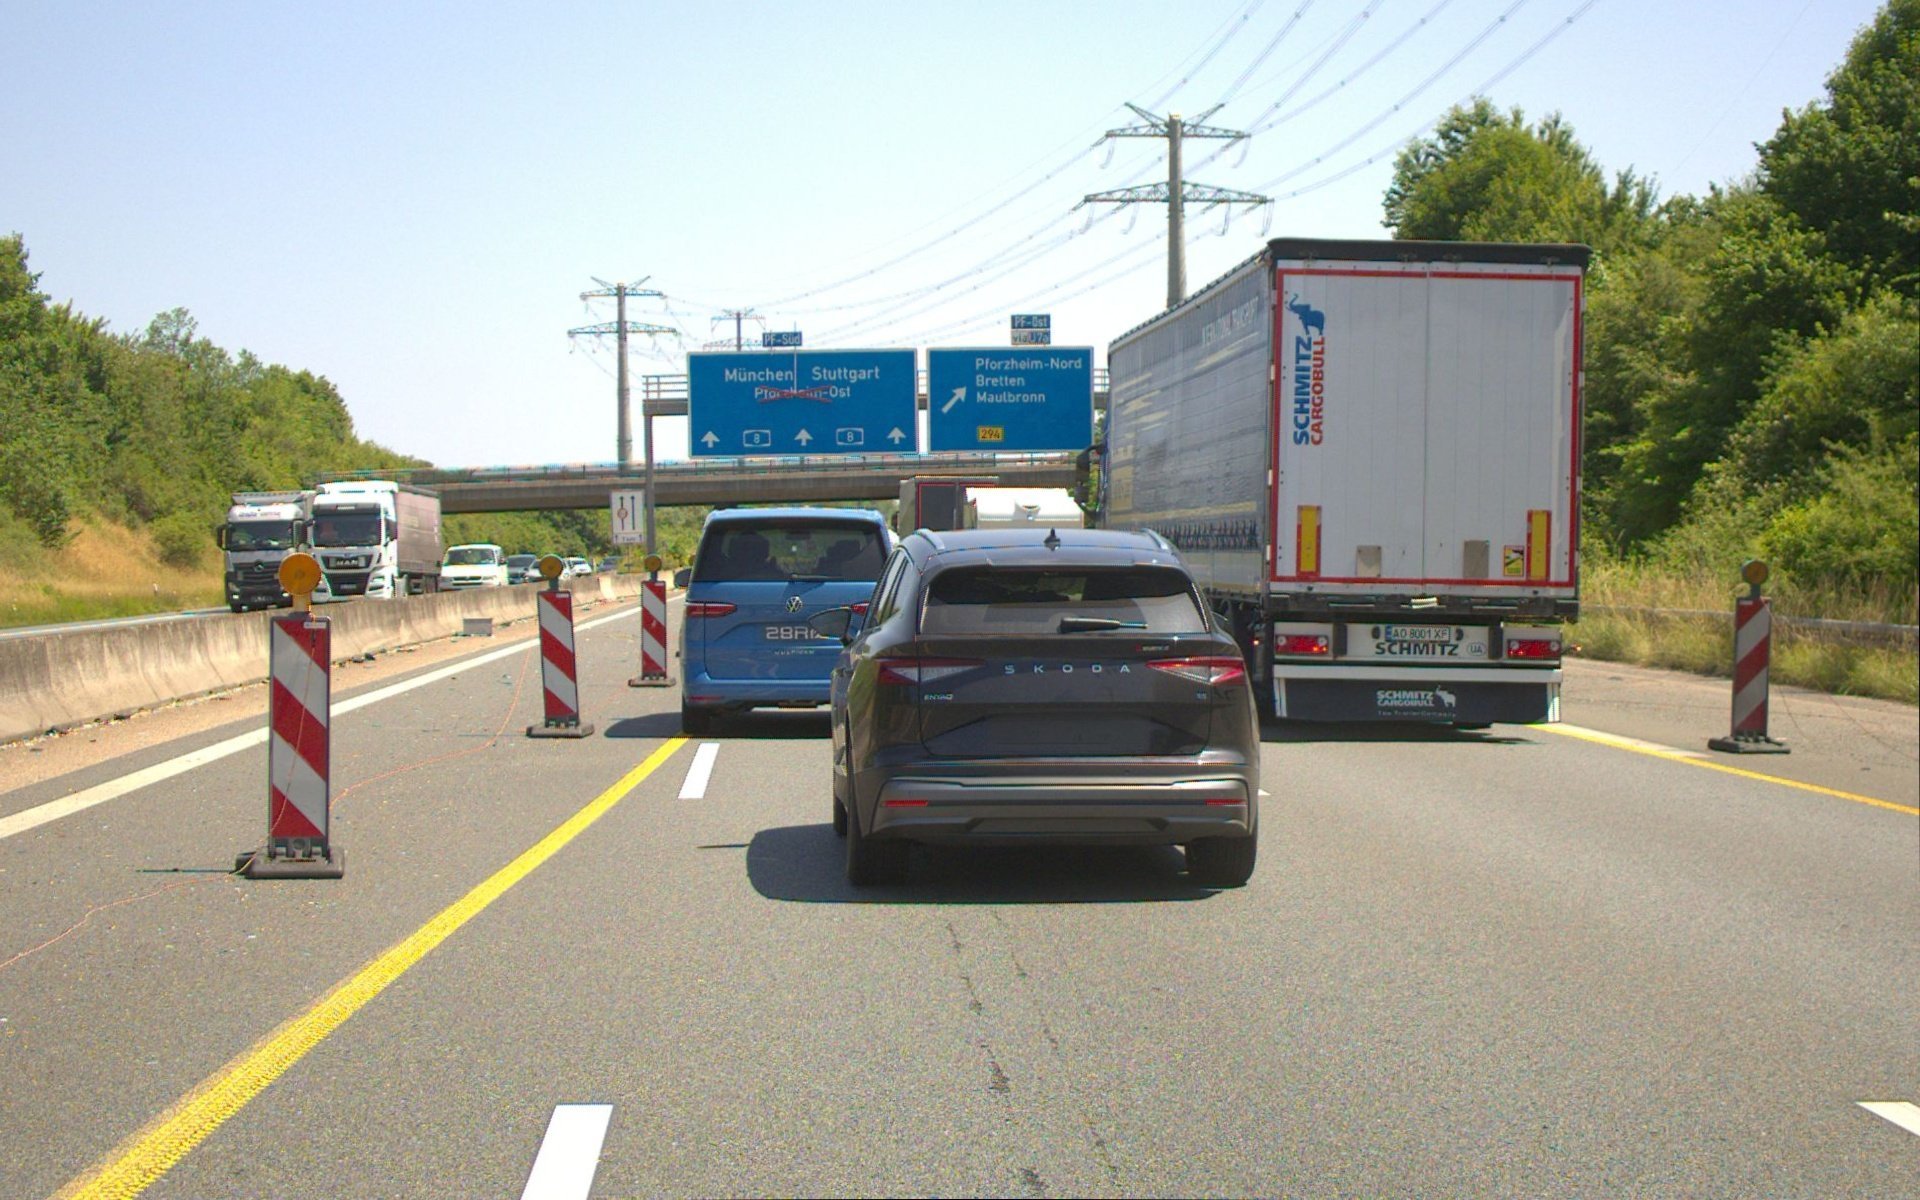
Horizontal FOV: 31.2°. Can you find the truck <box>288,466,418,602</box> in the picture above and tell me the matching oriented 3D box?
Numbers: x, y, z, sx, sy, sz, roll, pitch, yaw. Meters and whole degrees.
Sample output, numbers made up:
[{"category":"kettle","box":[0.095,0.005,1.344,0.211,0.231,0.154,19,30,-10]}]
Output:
[{"category":"truck","box":[-19.734,-2.146,112.222,3.163,4.210,7.416,-1,1,-3]}]

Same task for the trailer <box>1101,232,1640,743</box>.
[{"category":"trailer","box":[3.493,-0.982,32.966,3.065,4.028,11.489,0,1,-4]}]

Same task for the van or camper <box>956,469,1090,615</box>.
[{"category":"van or camper","box":[1.311,-1.270,75.274,2.586,2.958,6.085,2,1,-1]}]

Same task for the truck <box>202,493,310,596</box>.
[{"category":"truck","box":[-23.317,-1.842,114.115,2.464,3.277,6.925,-1,1,-3]}]

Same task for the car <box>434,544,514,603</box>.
[{"category":"car","box":[-15.224,-0.851,107.953,1.866,1.786,5.455,-1,1,-2]}]

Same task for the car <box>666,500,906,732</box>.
[{"category":"car","box":[-1.518,0.127,29.777,1.895,1.835,4.443,1,0,-3]}]

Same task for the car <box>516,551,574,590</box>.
[{"category":"car","box":[-16.480,-1.184,136.715,1.762,1.466,4.634,-1,1,-1]}]

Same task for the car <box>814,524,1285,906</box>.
[{"category":"car","box":[0.284,0.438,16.625,1.895,1.586,4.443,1,1,-3]}]

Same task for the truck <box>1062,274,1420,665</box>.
[{"category":"truck","box":[3.066,-1.429,39.884,3.024,4.073,7.796,0,1,-4]}]

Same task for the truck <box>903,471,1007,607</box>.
[{"category":"truck","box":[-0.271,-1.960,112.125,3.077,4.132,13.055,1,1,-1]}]

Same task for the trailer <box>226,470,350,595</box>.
[{"category":"trailer","box":[-23.702,-2.382,121.818,2.480,4.165,12.087,-1,1,-3]}]

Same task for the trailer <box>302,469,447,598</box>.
[{"category":"trailer","box":[-20.039,-2.272,118.574,3.160,4.165,13.686,-1,1,-2]}]
